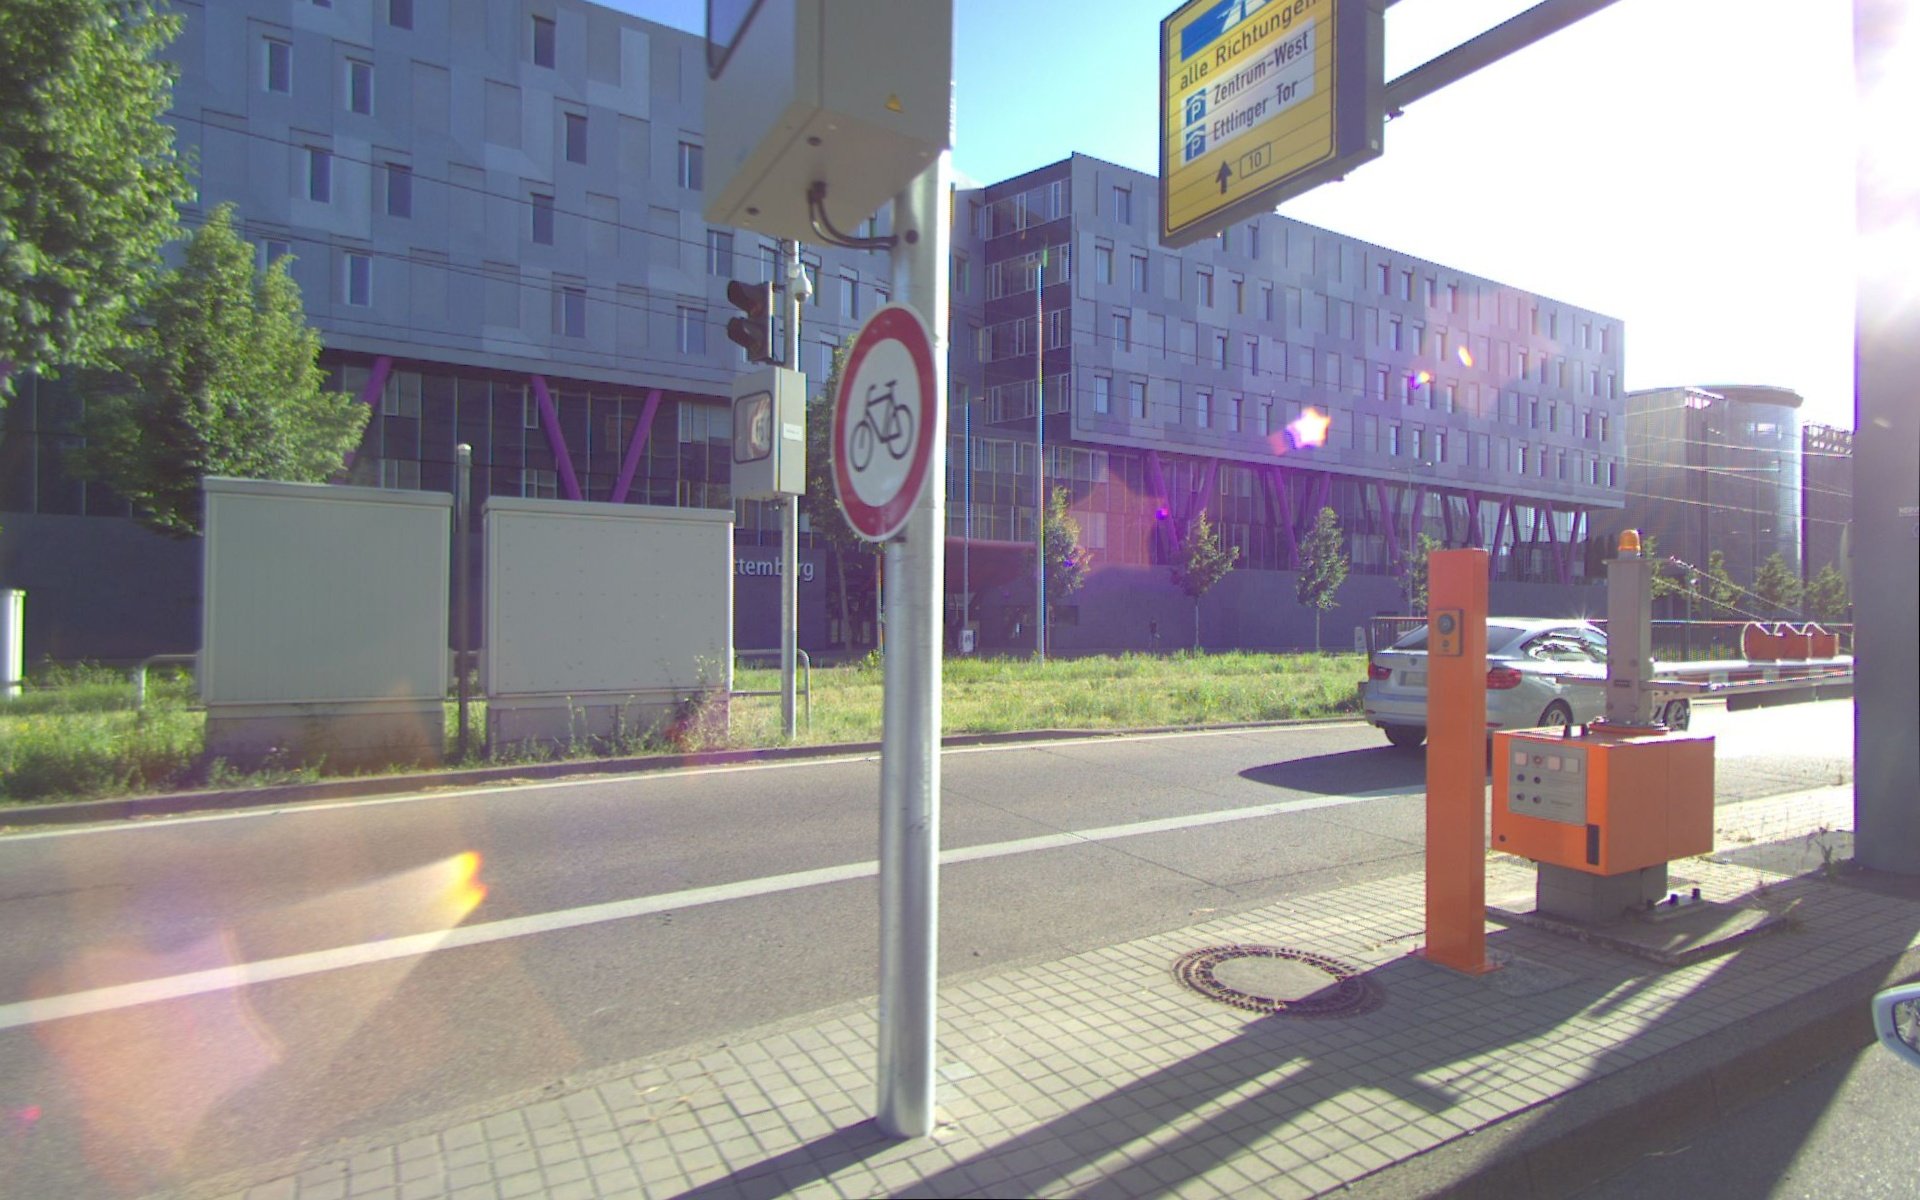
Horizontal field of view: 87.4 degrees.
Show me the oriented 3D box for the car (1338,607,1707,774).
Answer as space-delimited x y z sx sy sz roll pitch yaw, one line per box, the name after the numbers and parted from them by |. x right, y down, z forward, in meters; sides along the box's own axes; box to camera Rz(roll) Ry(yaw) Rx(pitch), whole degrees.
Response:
6.659 0.897 11.684 4.861 1.547 1.787 1 1 -35 | car

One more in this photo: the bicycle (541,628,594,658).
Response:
-16.089 1.754 41.178 1.952 1.188 0.517 1 -1 -30 | bicycle

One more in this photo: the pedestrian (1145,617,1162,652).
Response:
11.278 1.985 58.516 0.681 2.040 0.733 1 -1 -29 | pedestrian

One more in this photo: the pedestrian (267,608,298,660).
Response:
-24.460 1.217 36.289 0.861 1.846 0.717 0 -1 -30 | pedestrian
